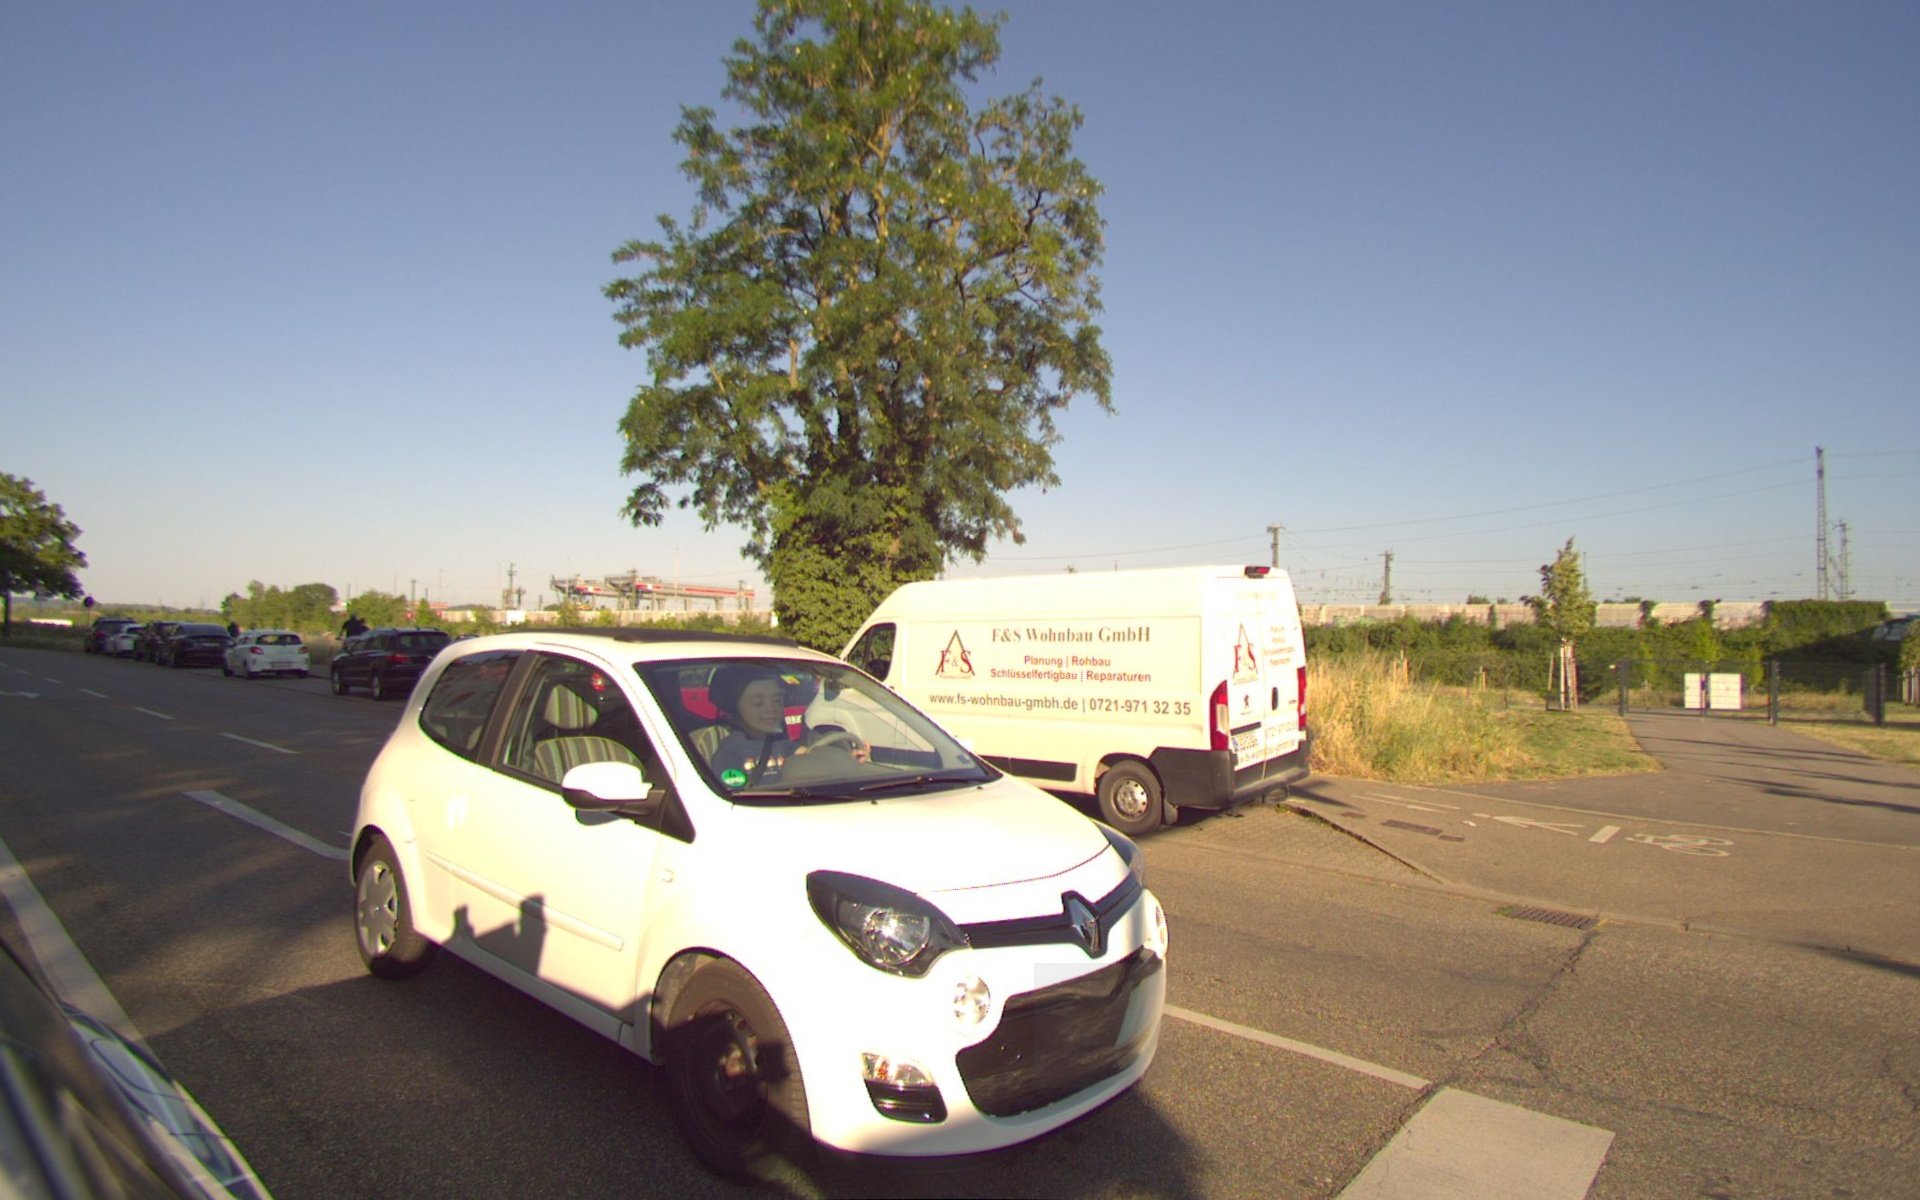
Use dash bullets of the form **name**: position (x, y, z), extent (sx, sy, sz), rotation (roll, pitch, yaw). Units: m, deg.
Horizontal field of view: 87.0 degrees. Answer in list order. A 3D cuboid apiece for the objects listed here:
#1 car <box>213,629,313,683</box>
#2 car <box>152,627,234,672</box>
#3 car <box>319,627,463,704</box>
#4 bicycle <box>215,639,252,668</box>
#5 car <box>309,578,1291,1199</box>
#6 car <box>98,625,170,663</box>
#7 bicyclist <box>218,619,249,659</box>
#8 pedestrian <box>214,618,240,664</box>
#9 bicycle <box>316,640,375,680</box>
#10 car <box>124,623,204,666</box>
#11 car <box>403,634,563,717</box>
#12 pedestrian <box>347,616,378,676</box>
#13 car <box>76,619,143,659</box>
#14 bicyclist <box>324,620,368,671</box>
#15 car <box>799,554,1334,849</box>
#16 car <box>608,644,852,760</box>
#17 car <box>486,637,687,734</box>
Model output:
- **car**: position (-21.566, 1.710, 31.288), extent (3.582, 1.538, 1.684), rotation (-1, -4, 42)
- **car**: position (-28.242, 1.790, 37.224), extent (1.798, 1.538, 4.292), rotation (5, -4, -45)
- **car**: position (-13.605, 1.509, 24.111), extent (4.003, 1.672, 1.642), rotation (-1, -4, 40)
- **bicycle**: position (-29.526, 2.177, 41.124), extent (2.163, 1.098, 0.738), rotation (-1, -4, 43)
- **car**: position (-0.877, 0.766, 3.937), extent (3.772, 1.480, 1.683), rotation (-1, -4, 40)
- **car**: position (-36.477, 1.922, 44.656), extent (4.219, 1.586, 1.799), rotation (-1, -4, 43)
- **bicyclist**: position (-29.558, 1.582, 41.177), extent (1.146, 1.609, 0.758), rotation (-1, -4, 43)
- **pedestrian**: position (-33.140, 1.843, 45.760), extent (0.710, 2.029, 0.697), rotation (-1, -4, 42)
- **bicycle**: position (-19.806, 1.916, 32.585), extent (2.482, 1.198, 0.927), rotation (-1, -4, 43)
- **car**: position (-32.391, 1.785, 41.145), extent (4.219, 1.650, 1.799), rotation (-1, -4, 43)
- **car**: position (-10.023, 1.532, 21.192), extent (3.577, 1.541, 1.642), rotation (-1, -4, 40)
- **pedestrian**: position (-20.204, 1.555, 34.215), extent (0.729, 2.029, 0.608), rotation (-1, -4, 39)
- **car**: position (-40.848, 1.863, 48.604), extent (4.219, 1.789, 1.866), rotation (-1, -4, 43)
- **bicyclist**: position (-19.765, 1.462, 32.596), extent (1.146, 1.609, 0.854), rotation (-1, -4, 43)
- **car**: position (0.920, 0.886, 11.077), extent (5.556, 2.455, 2.207), rotation (-1, -1, 40)
- **car**: position (-3.557, 1.463, 15.391), extent (3.692, 1.498, 1.723), rotation (-1, -4, 40)
- **car**: position (-6.807, 1.482, 18.313), extent (3.814, 1.541, 1.723), rotation (-1, -4, 40)
